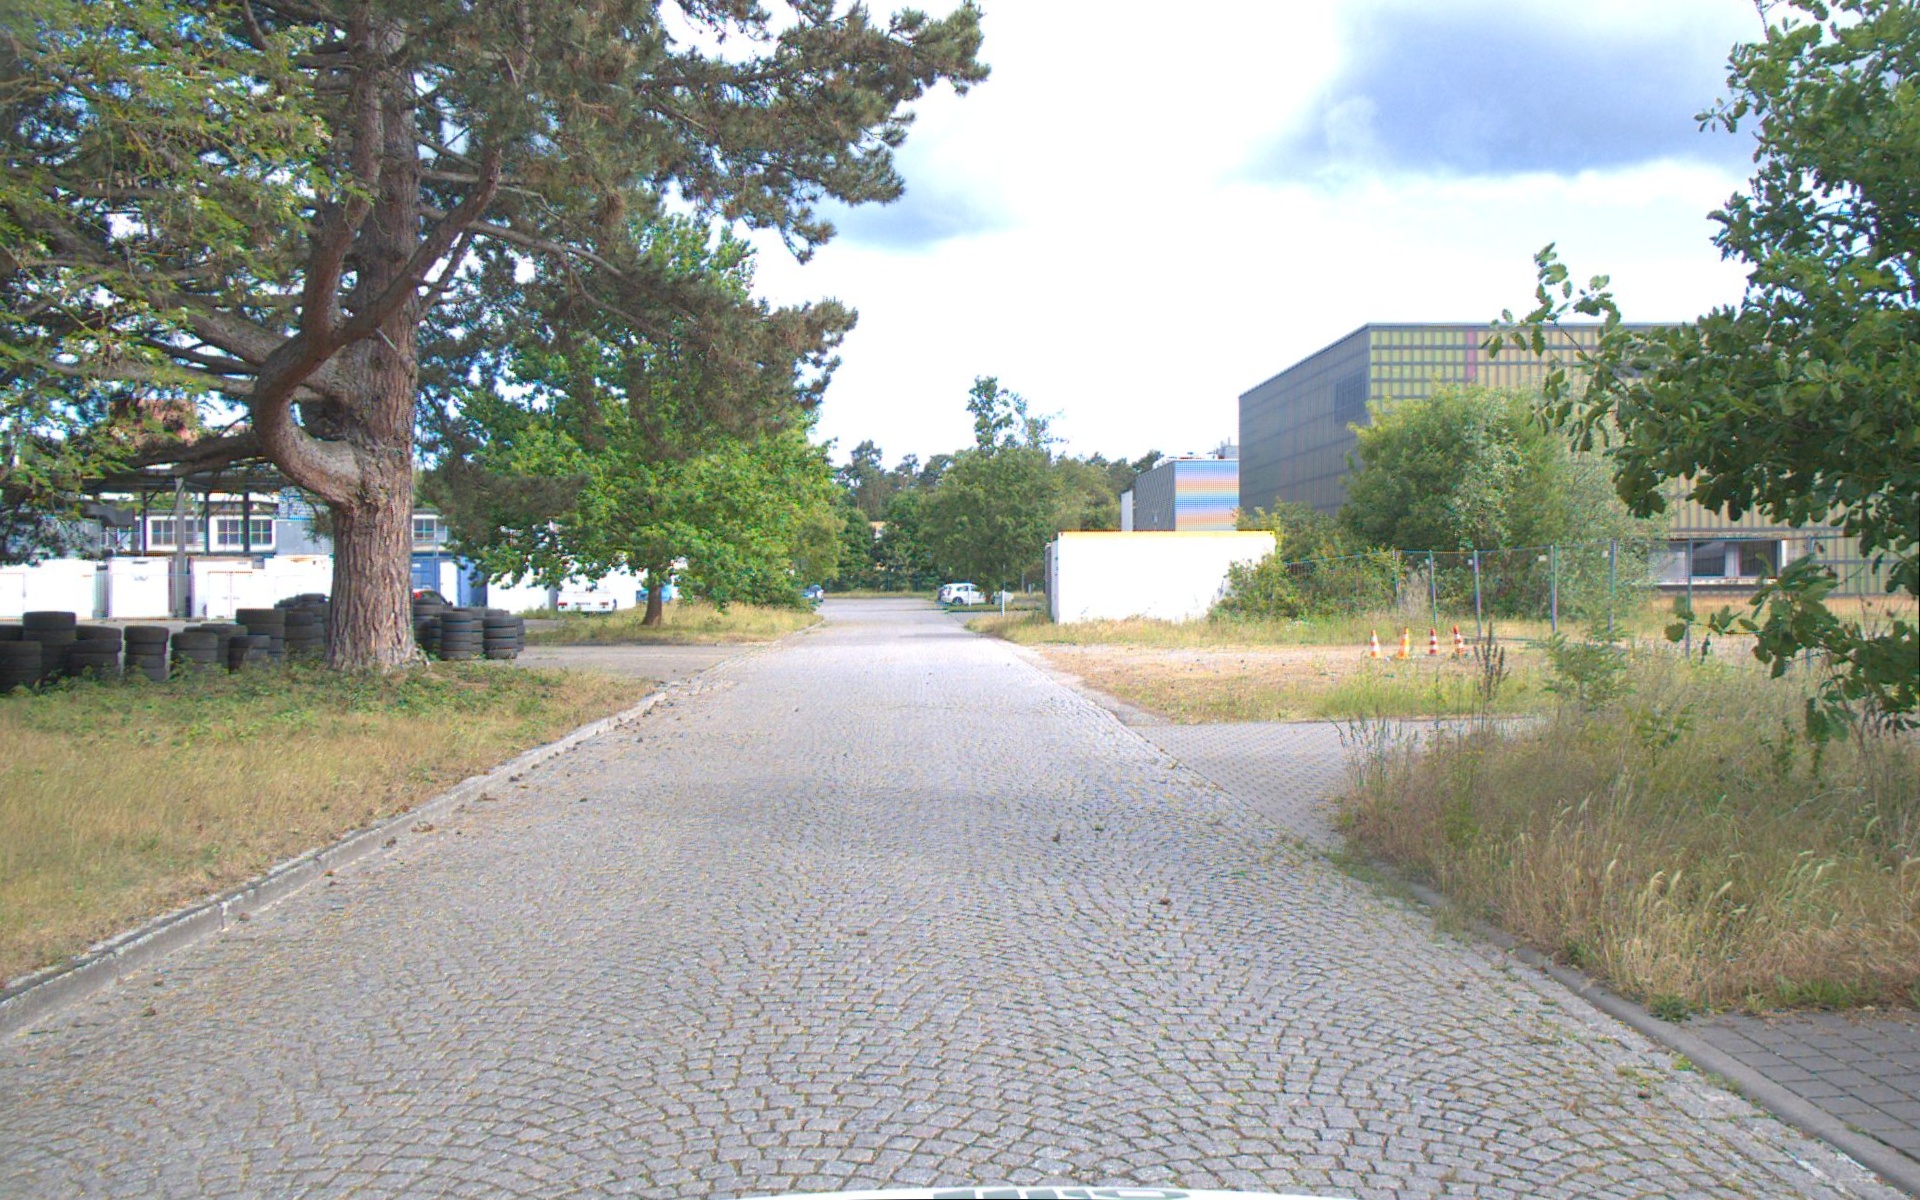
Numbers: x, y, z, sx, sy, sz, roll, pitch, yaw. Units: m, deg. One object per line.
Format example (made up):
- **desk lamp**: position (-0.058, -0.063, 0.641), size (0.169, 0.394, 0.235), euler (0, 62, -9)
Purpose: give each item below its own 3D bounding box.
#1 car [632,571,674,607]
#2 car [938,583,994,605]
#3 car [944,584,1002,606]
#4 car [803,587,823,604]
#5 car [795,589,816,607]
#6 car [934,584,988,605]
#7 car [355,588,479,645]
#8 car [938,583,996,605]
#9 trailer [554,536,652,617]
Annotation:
- **car**: position (-22.807, -0.828, 123.099), size (1.952, 2.567, 5.618), euler (-1, 0, 1)
- **car**: position (0.412, -0.454, 116.999), size (3.907, 1.481, 1.769), euler (-1, 0, -2)
- **car**: position (0.862, -0.355, 111.808), size (3.907, 1.481, 1.999), euler (0, 0, -2)
- **car**: position (-12.926, -0.420, 145.394), size (1.715, 1.480, 3.996), euler (-1, 0, -5)
- **car**: position (-12.616, -0.181, 135.171), size (1.715, 1.387, 3.996), euler (-1, 0, -5)
- **car**: position (0.034, -0.444, 121.888), size (3.907, 1.481, 1.769), euler (-1, 0, -2)
- **car**: position (-14.857, 0.415, 45.462), size (1.785, 1.456, 4.221), euler (0, 0, 3)
- **car**: position (0.482, -0.413, 113.960), size (3.907, 1.481, 1.697), euler (-1, 0, -2)
- **trailer**: position (-17.862, -1.144, 83.522), size (2.602, 3.770, 10.721), euler (-1, 0, 0)
